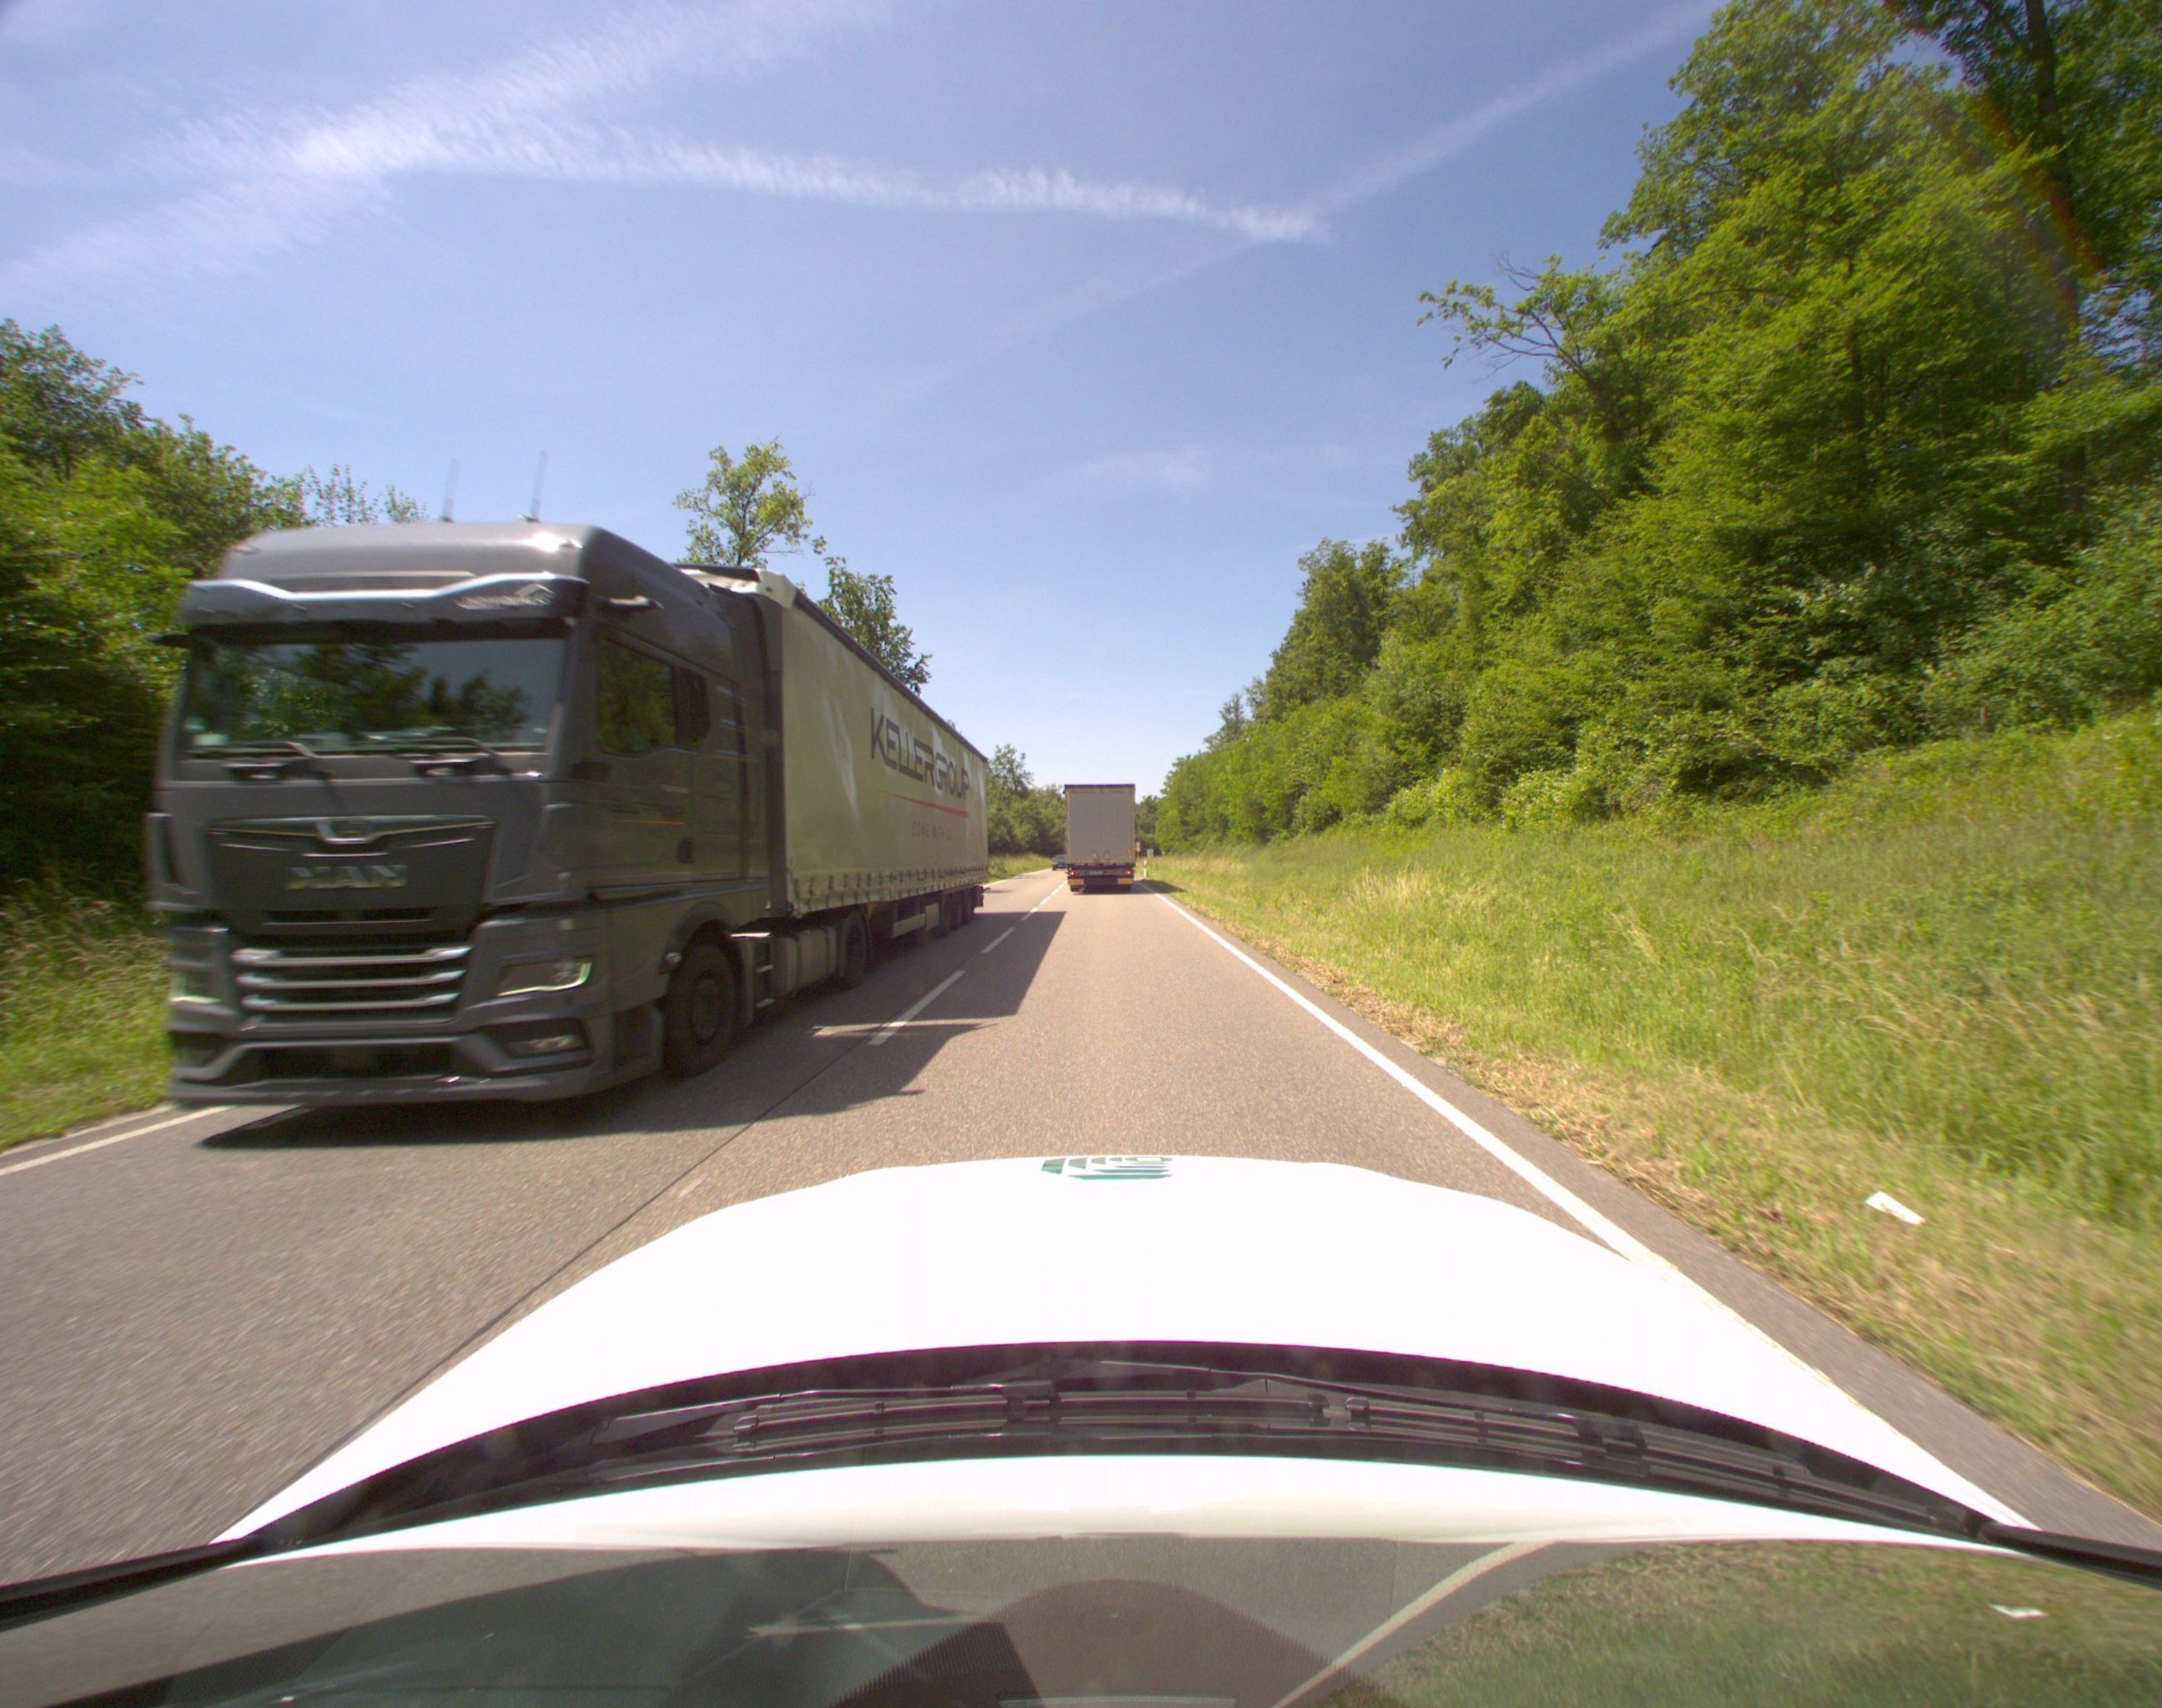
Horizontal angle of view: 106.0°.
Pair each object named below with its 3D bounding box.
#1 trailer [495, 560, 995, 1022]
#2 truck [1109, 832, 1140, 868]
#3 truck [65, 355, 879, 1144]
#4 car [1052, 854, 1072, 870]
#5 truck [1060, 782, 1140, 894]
[{"bbox_3d":[-3.875,-0.622,14.447,2.931,4.252,13.621,-2,0,1],"label":"trailer"},{"bbox_3d":[5.763,-0.503,107.551,3.777,4.373,14.931,-1,0,3],"label":"truck"},{"bbox_3d":[-3.977,-0.586,7.105,2.912,4.216,5.343,-2,0,1],"label":"truck"},{"bbox_3d":[-1.826,0.738,79.479,1.654,1.495,3.807,-2,0,2],"label":"car"},{"bbox_3d":[0.806,-0.574,35.381,2.751,3.947,12.200,-1,0,1],"label":"truck"}]
